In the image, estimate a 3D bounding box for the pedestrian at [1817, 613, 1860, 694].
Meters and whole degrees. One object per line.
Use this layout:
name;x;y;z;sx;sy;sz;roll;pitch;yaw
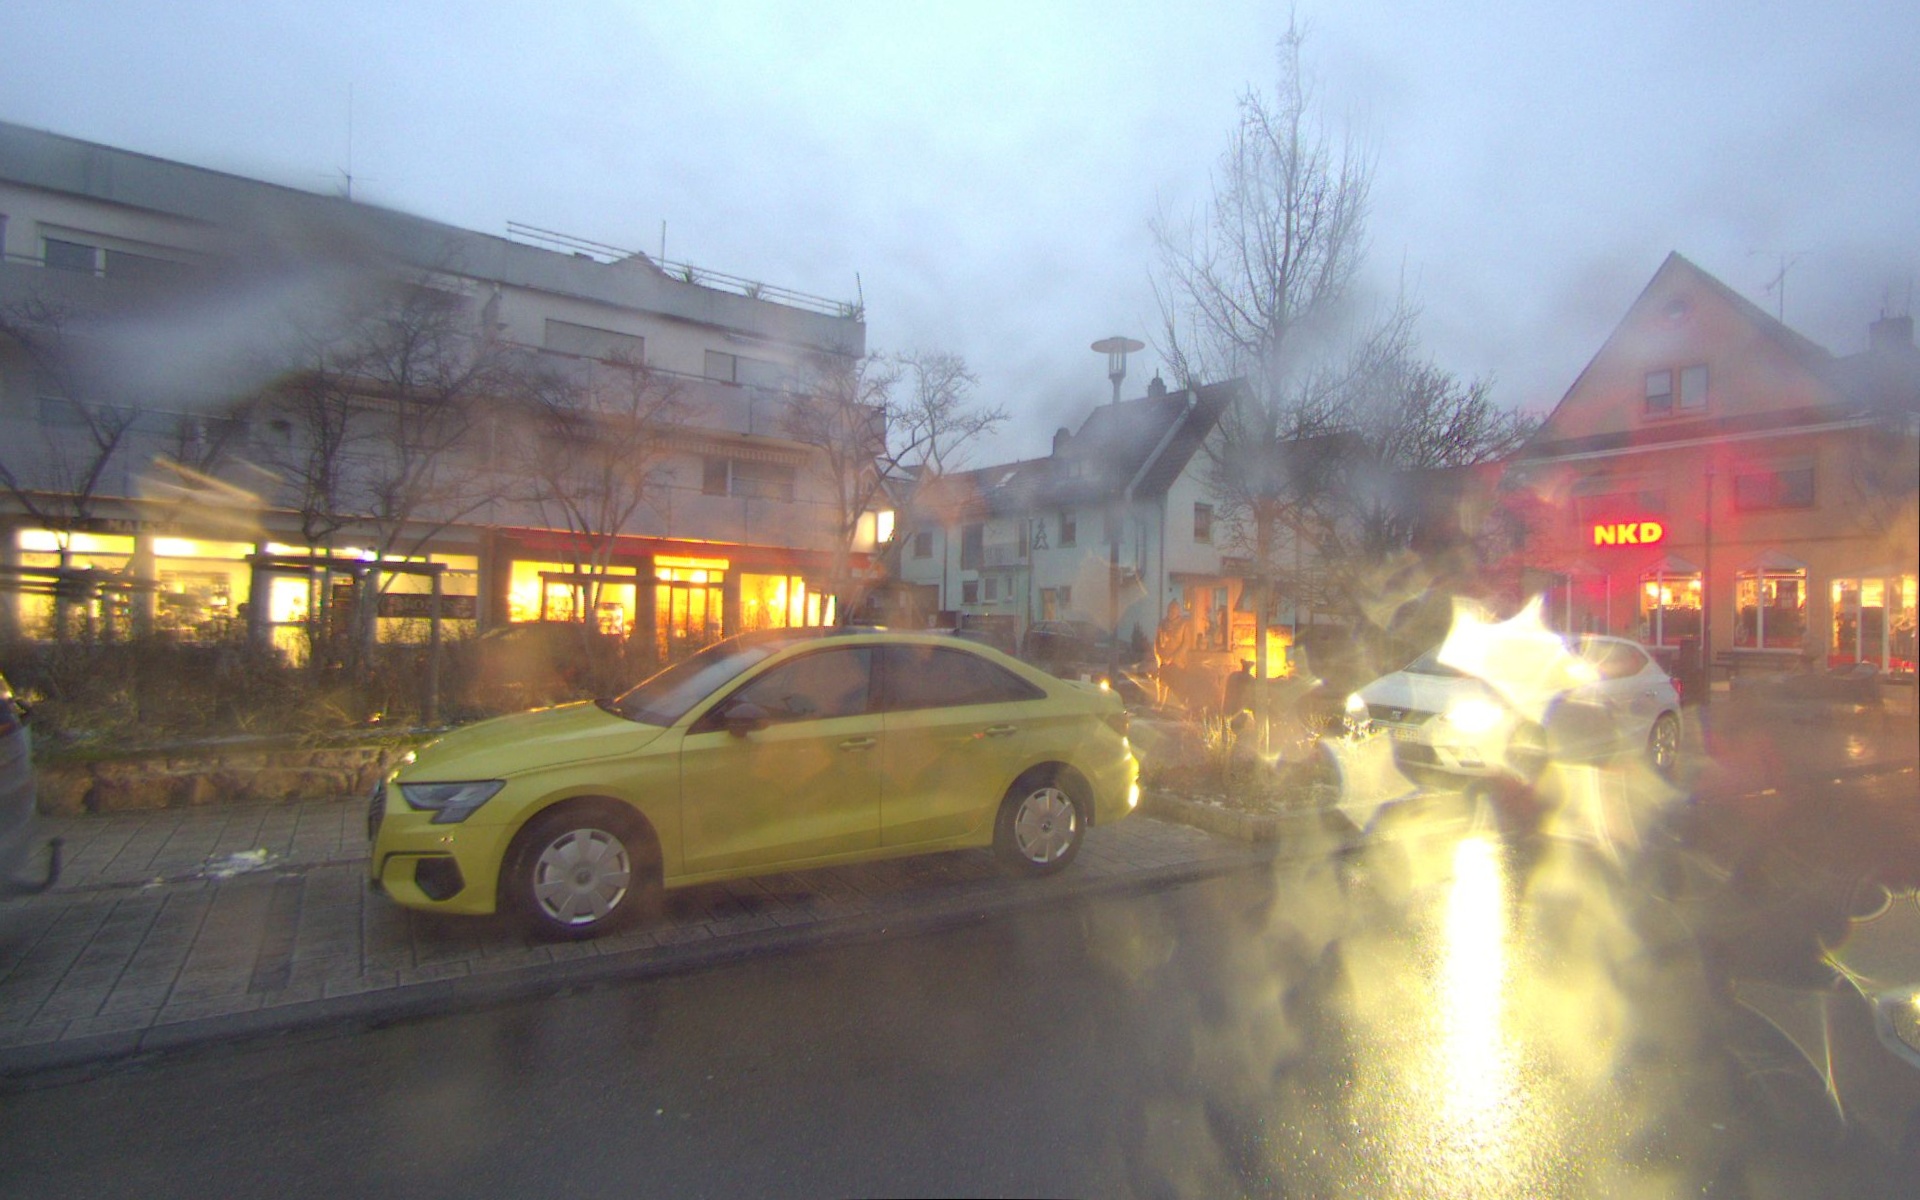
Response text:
pedestrian;19.634;1.177;22.443;0.677;1.765;0.584;1;-1;-36

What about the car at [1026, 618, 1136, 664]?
car;4.376;1.474;36.757;1.604;1.539;3.854;2;-1;-43

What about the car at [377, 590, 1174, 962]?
car;-0.962;0.779;6.009;4.289;1.536;1.741;2;1;-29

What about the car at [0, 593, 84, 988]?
car;-5.642;0.707;3.438;3.733;1.536;1.682;2;0;-33

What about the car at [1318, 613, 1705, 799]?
car;5.711;0.964;10.306;3.953;1.536;1.661;2;1;-30

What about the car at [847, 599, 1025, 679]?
car;-0.531;0.912;24.109;3.967;1.743;1.834;2;-1;-40

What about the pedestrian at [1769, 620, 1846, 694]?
pedestrian;18.054;1.213;21.415;0.766;1.437;0.887;2;5;-25
